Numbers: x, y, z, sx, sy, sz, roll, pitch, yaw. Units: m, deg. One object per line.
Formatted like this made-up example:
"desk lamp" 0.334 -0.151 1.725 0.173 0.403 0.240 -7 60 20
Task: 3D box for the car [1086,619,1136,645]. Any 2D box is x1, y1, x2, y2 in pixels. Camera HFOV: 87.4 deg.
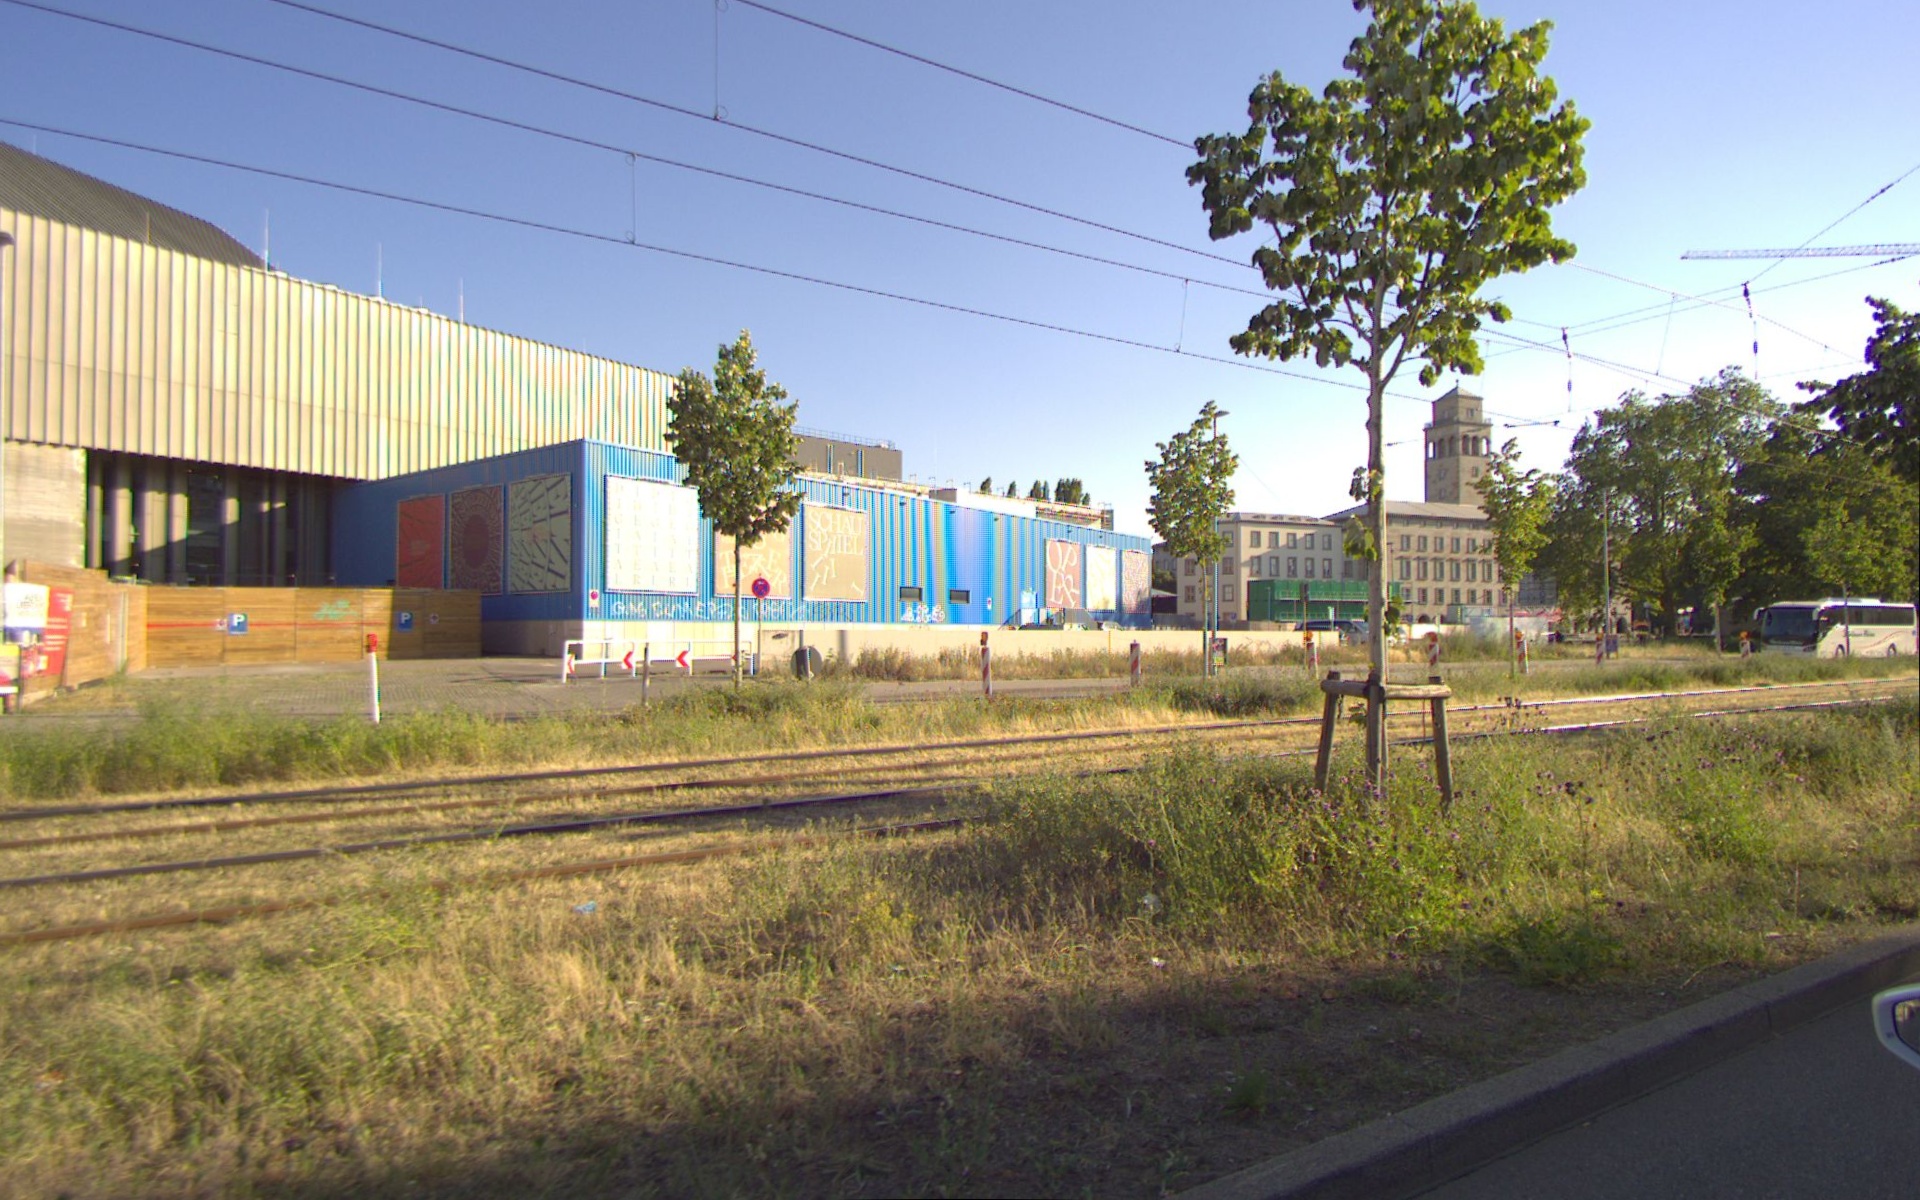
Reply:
"car" 9.906 2.071 65.826 1.390 1.657 4.207 -1 -1 38

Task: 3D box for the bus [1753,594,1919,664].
"bus" 49.158 1.601 56.051 12.534 3.642 2.789 1 -1 -27

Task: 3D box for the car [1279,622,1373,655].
"car" 17.514 1.799 48.226 1.975 1.504 3.972 1 -2 -28

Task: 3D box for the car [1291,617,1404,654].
"car" 19.237 1.745 50.081 2.098 1.739 5.207 1 -2 -28

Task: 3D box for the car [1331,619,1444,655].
"car" 21.706 1.838 51.274 2.098 1.739 5.207 1 -2 -28
